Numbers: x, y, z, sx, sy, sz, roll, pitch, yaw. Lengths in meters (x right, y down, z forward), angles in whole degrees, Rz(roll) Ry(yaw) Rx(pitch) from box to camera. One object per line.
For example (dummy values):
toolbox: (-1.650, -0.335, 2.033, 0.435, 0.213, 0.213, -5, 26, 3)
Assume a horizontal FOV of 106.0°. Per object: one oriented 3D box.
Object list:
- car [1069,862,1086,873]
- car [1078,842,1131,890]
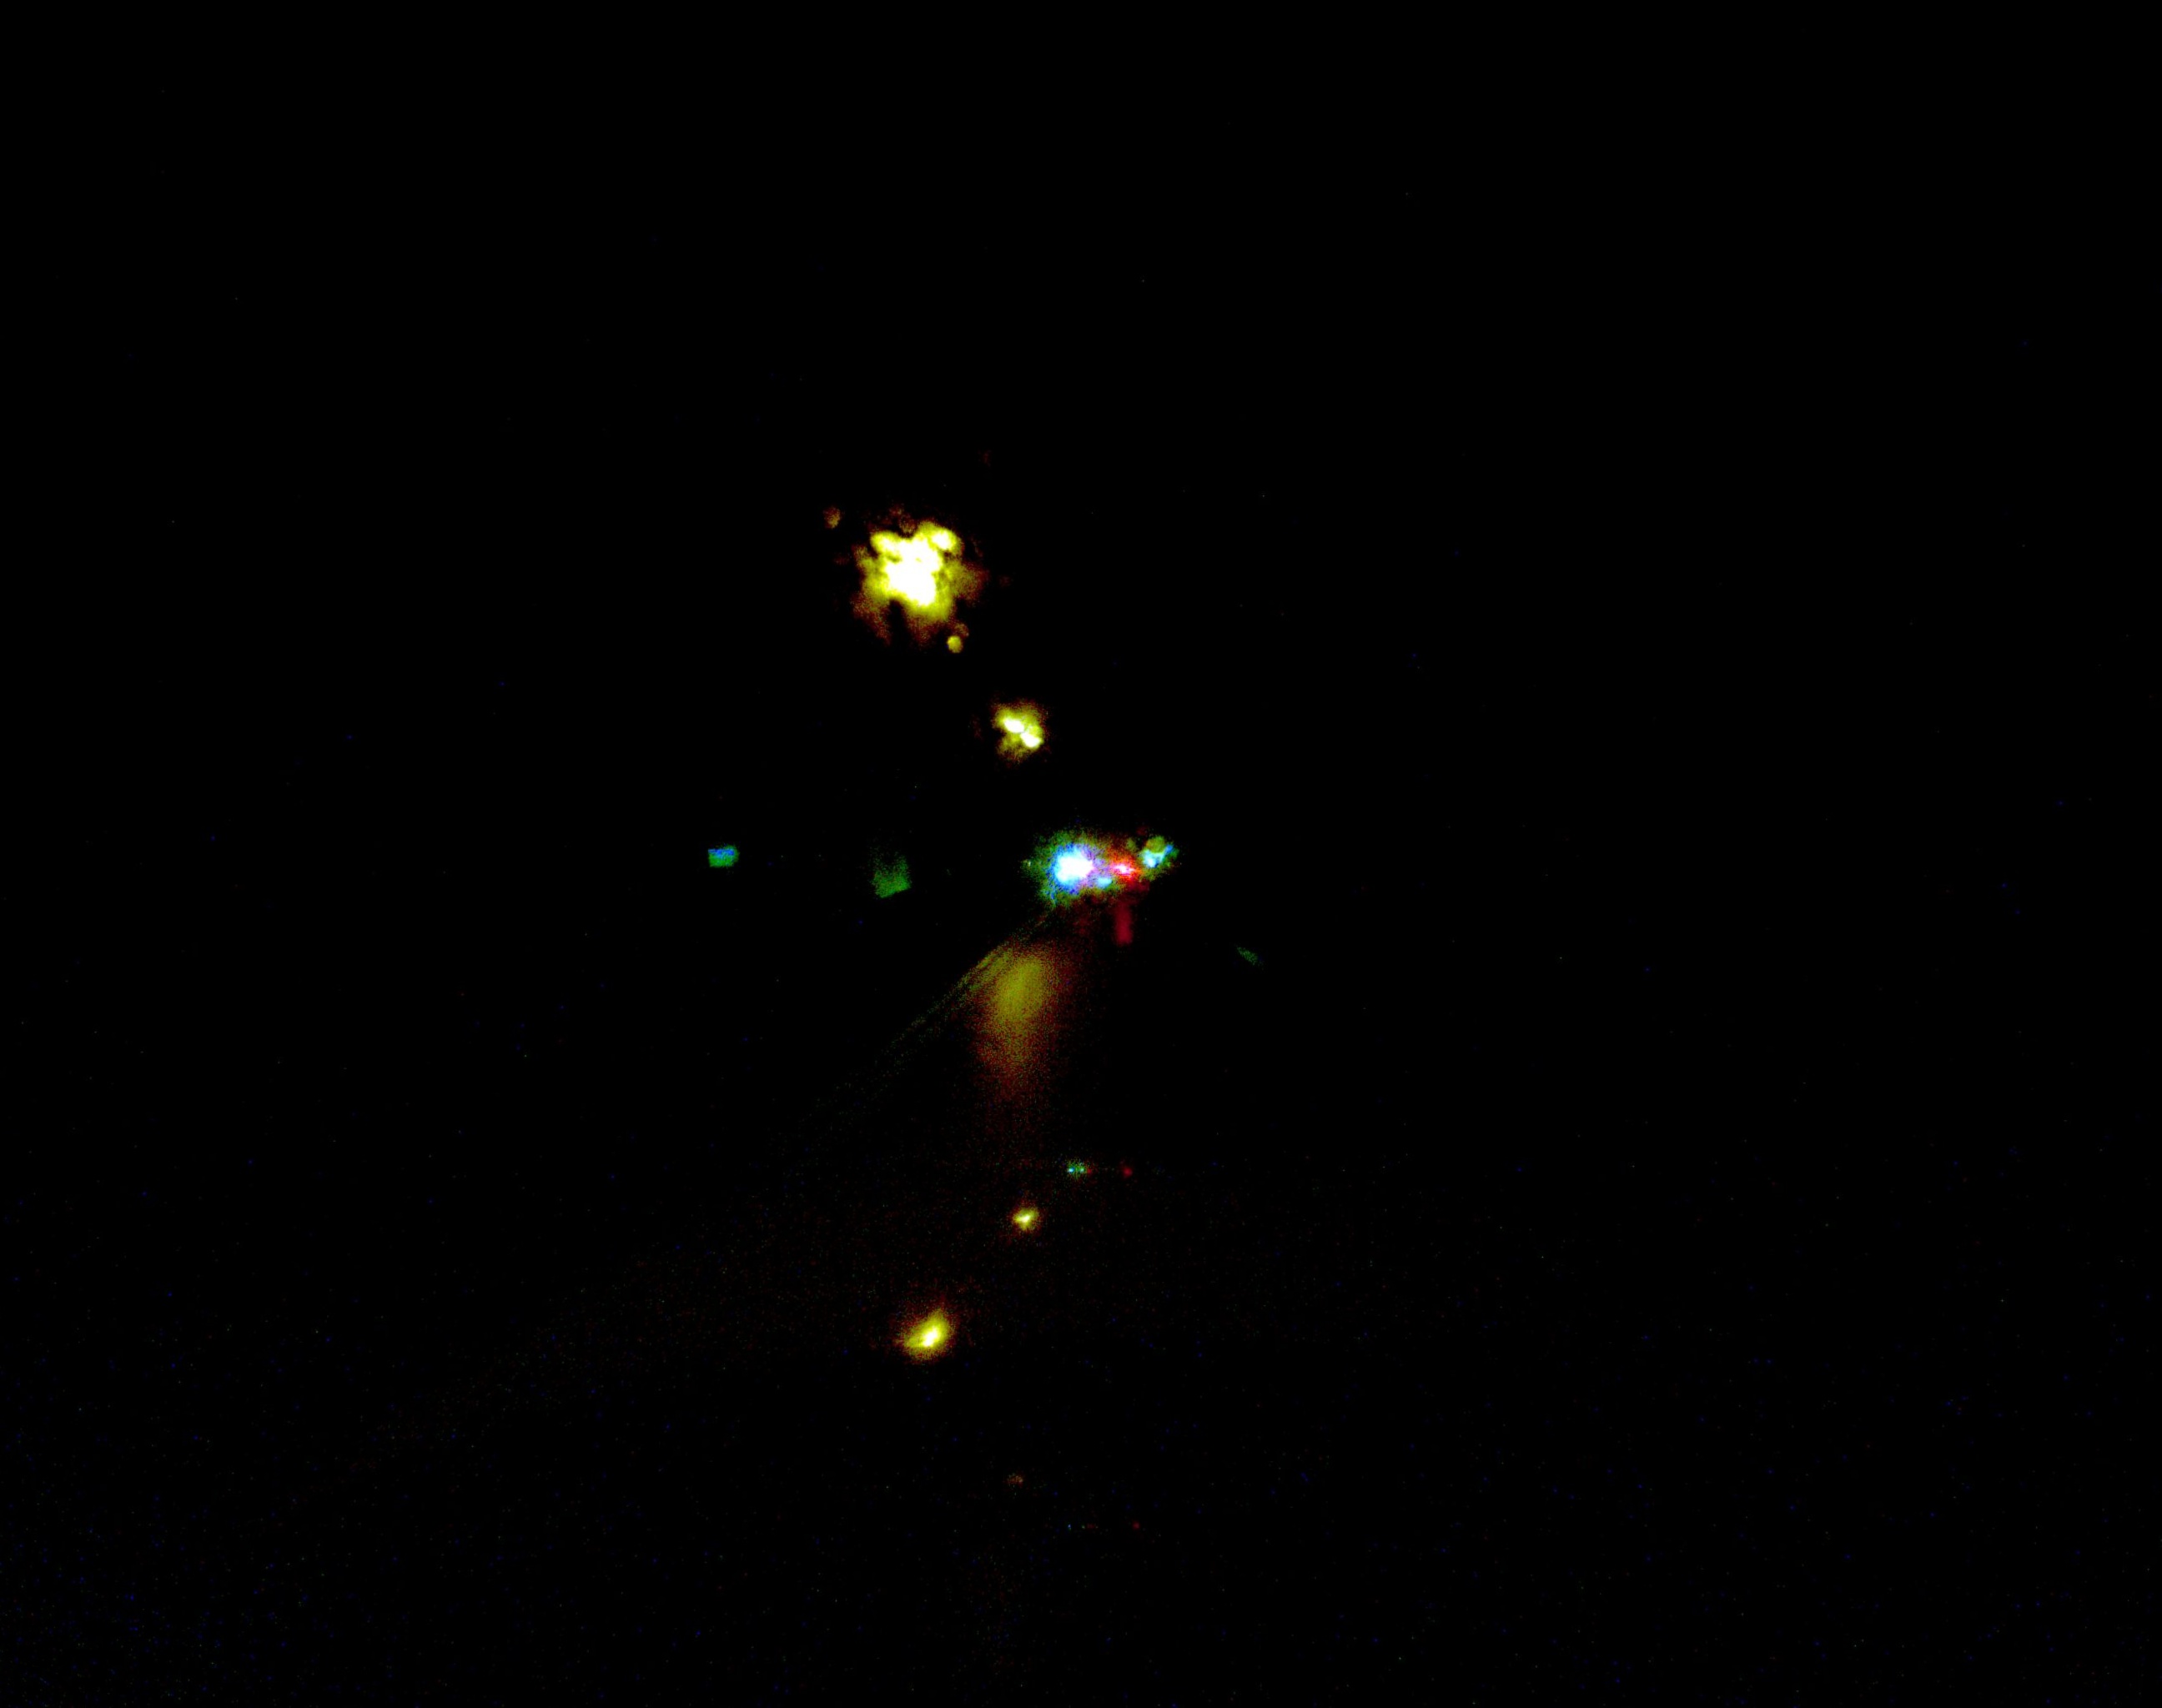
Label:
car: (-0.462, 1.722, 104.885, 1.986, 1.474, 4.278, -1, 0, 2)
car: (0.857, 0.422, 30.047, 1.802, 1.622, 4.001, -1, -1, 2)
